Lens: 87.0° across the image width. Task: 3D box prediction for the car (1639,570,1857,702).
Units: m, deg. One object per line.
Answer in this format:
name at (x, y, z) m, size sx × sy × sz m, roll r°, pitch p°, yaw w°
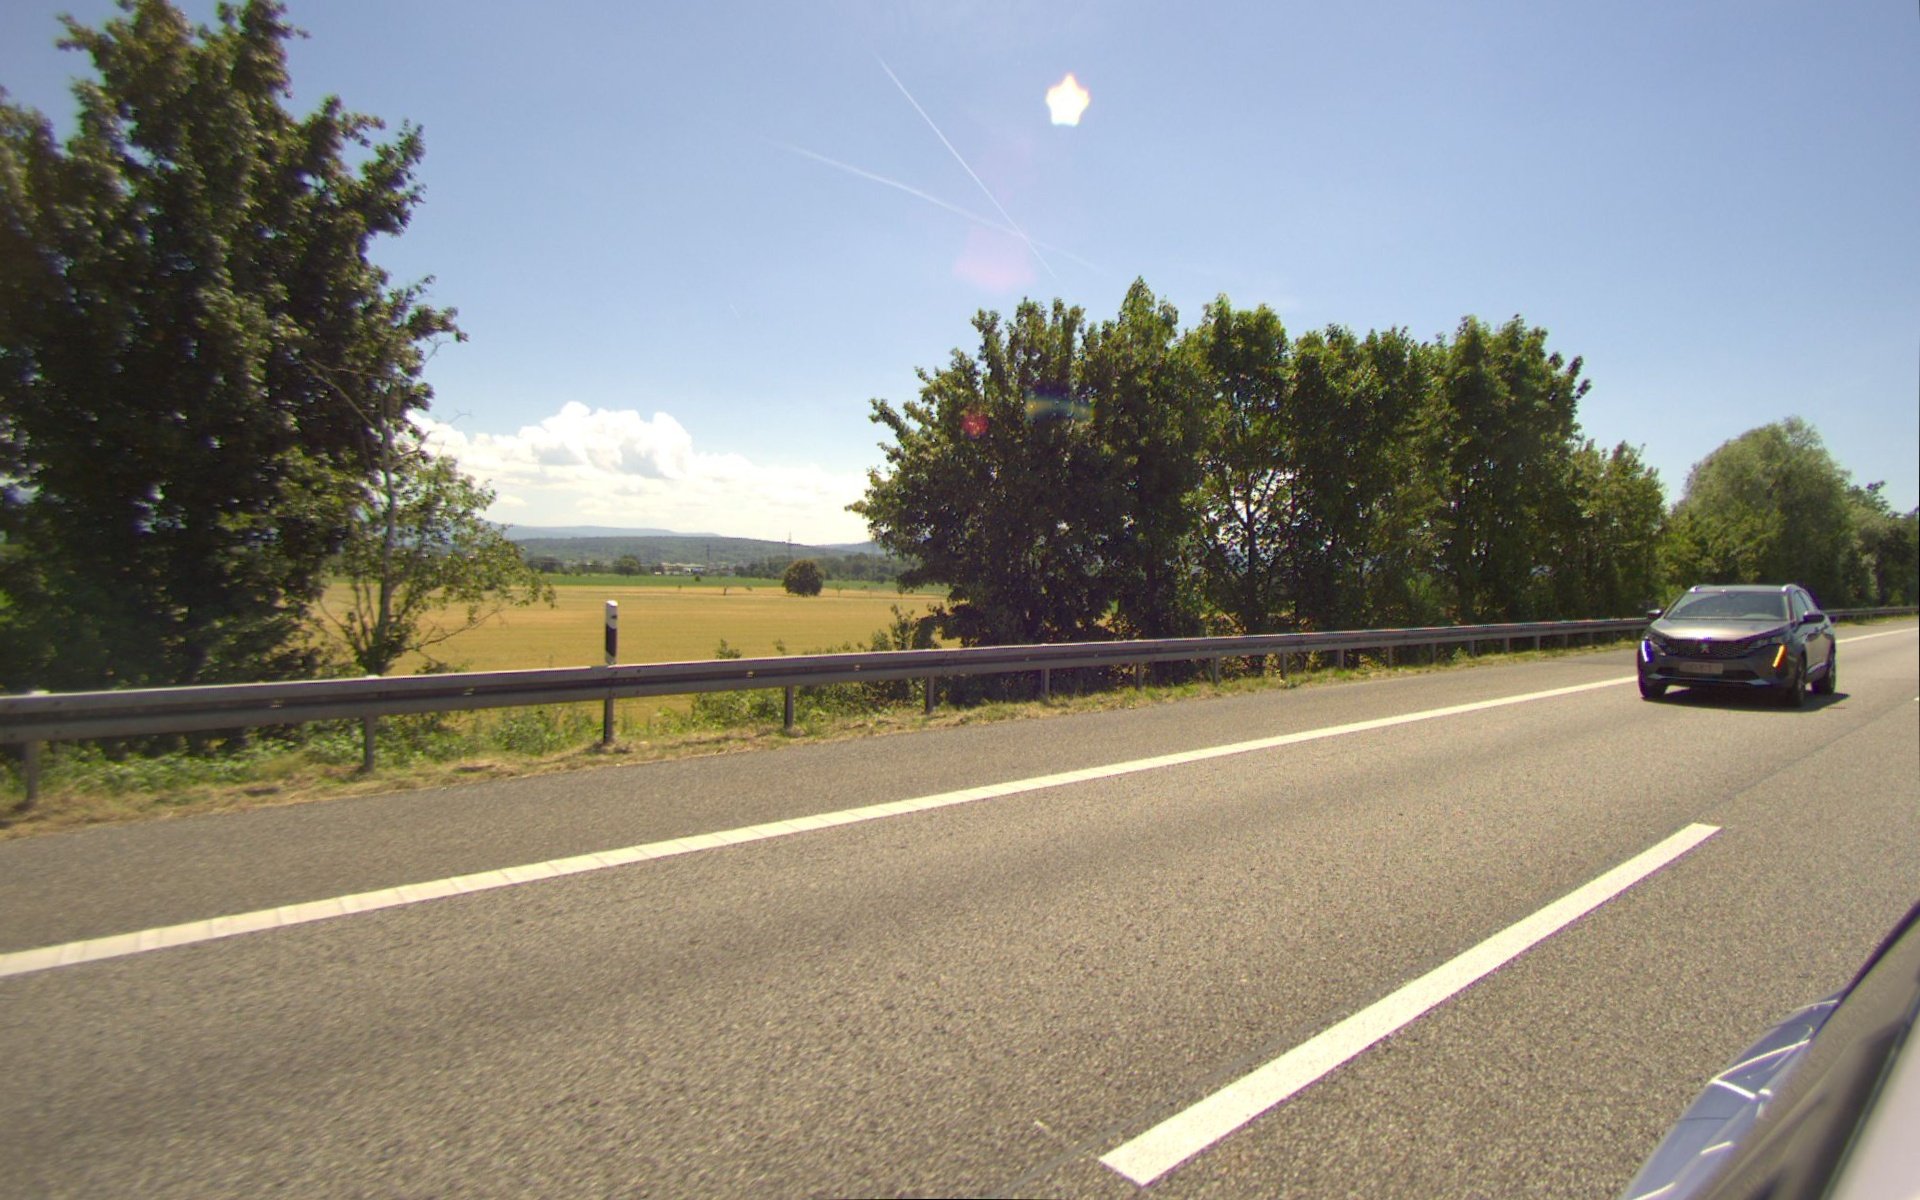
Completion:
car at (11.565, 0.440, 14.757) m, size 4.064 × 1.649 × 1.848 m, roll 0°, pitch 1°, yaw -42°
